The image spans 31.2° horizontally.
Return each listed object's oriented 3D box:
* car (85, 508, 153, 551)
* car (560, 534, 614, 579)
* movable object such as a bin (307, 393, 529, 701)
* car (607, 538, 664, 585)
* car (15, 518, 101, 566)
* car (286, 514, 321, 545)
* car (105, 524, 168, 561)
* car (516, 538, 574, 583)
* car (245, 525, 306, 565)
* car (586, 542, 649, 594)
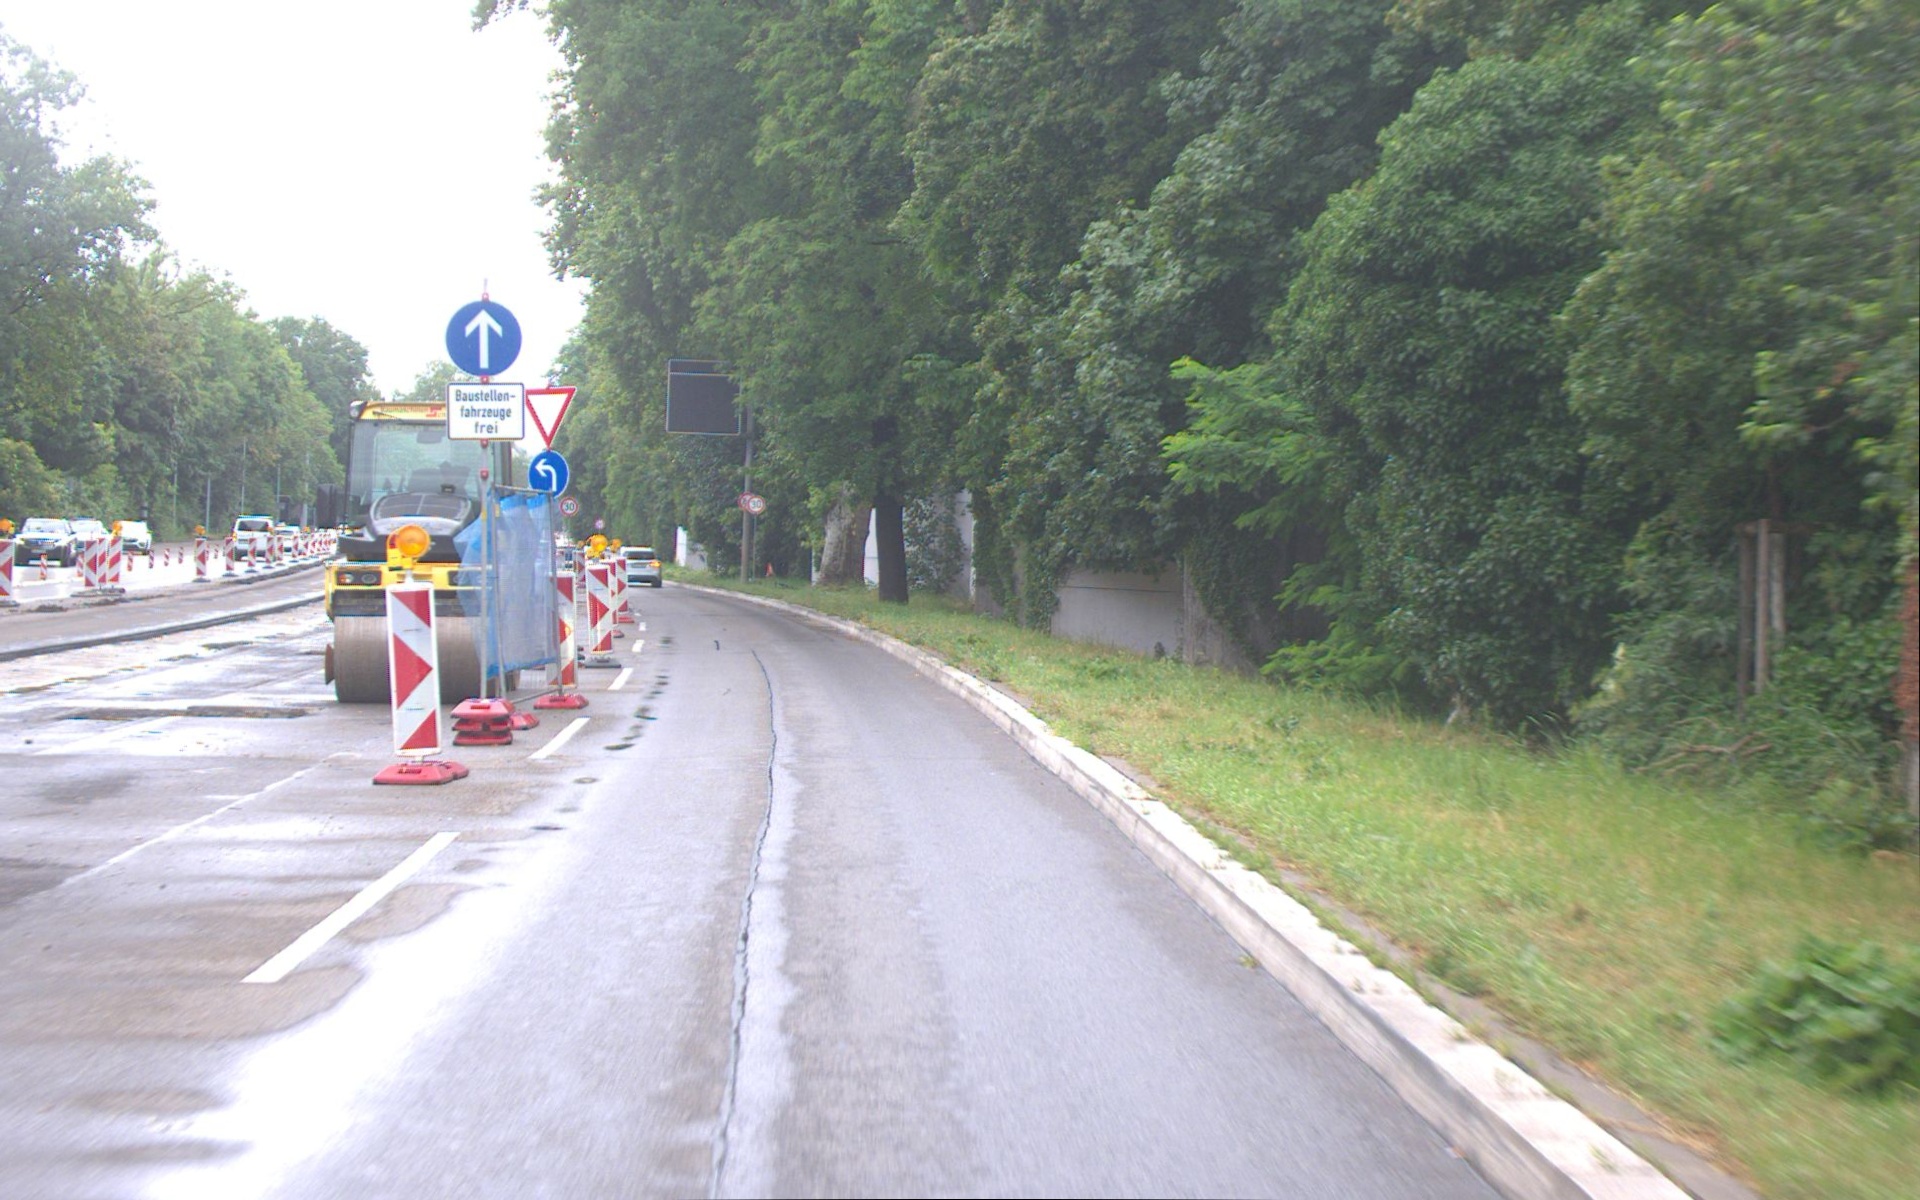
[{"bbox_3d":[-33.433,-2.803,136.716,1.927,1.659,4.653,1,1,-5],"label":"car"},{"bbox_3d":[-12.971,-1.527,119.560,1.756,1.339,4.001,3,2,-6],"label":"car"},{"bbox_3d":[-5.282,-0.526,33.872,1.746,2.857,3.535,1,1,-3],"label":"movable object such as a bin"},{"bbox_3d":[-12.020,-1.435,127.144,1.913,1.592,4.835,2,2,-7],"label":"car"},{"bbox_3d":[-32.258,-2.066,123.042,1.927,1.659,4.653,1,1,-1],"label":"car"},{"bbox_3d":[-35.343,-3.792,185.032,1.564,1.452,3.381,4,2,-15],"label":"car"},{"bbox_3d":[-38.662,-2.705,161.511,1.927,1.659,4.653,1,1,-1],"label":"car"},{"bbox_3d":[-16.956,-1.629,140.617,1.875,1.612,4.001,4,1,-1],"label":"car"},{"bbox_3d":[-31.241,-2.513,157.038,1.927,1.772,4.653,1,1,-1],"label":"car"},{"bbox_3d":[-10.161,-0.961,101.730,1.756,1.339,4.001,3,2,-6],"label":"car"}]
